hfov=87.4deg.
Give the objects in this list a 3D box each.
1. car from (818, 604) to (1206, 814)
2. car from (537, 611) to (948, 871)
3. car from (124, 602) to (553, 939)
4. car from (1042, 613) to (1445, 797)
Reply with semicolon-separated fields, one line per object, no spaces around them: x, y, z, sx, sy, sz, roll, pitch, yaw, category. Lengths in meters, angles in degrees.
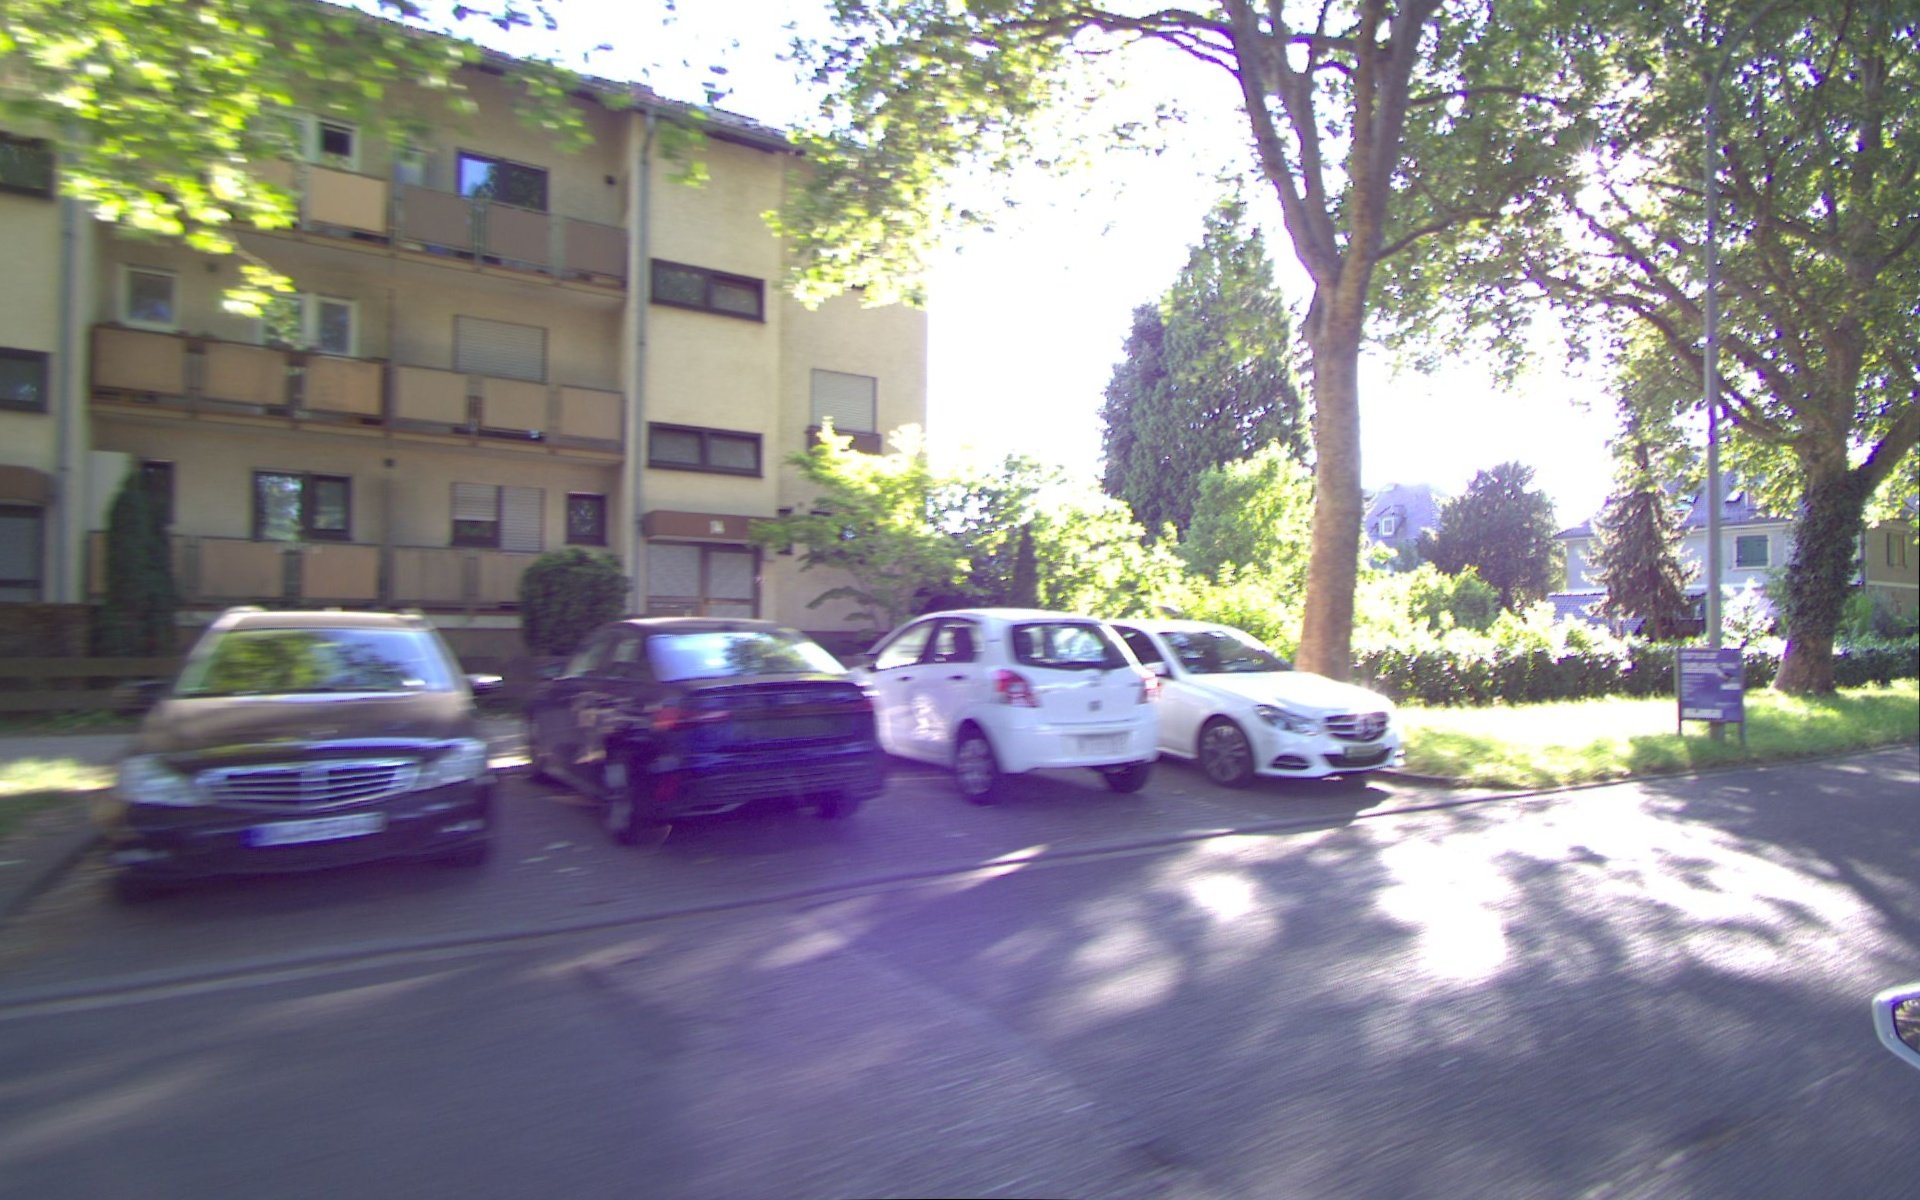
0.255;0.826;9.544;1.788;1.540;3.967;1;-1;-31;car
-1.920;0.828;7.805;1.790;1.443;3.962;1;-1;-34;car
-3.952;0.784;6.620;1.760;1.490;3.967;1;-1;-31;car
2.695;0.910;10.464;1.787;1.490;3.970;1;-1;-28;car
